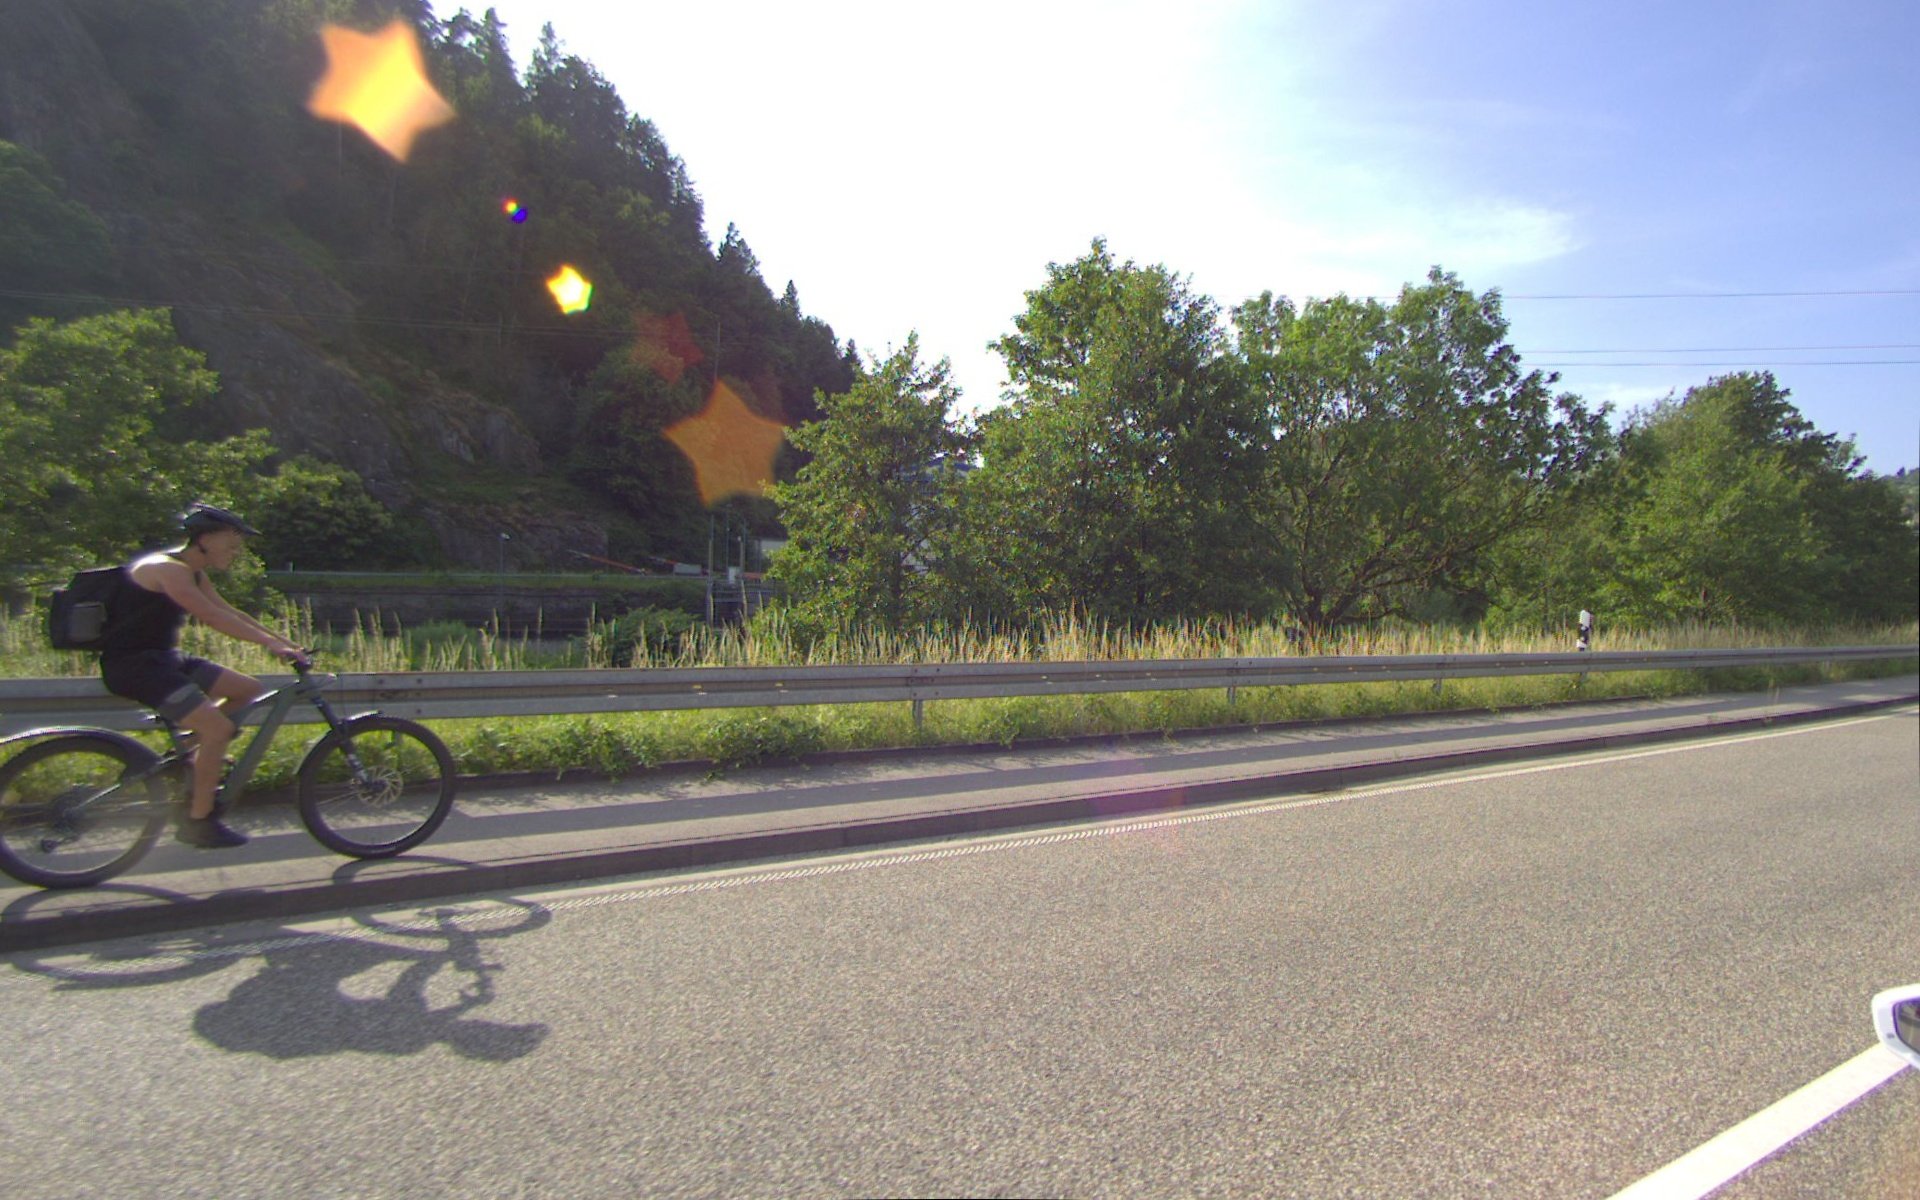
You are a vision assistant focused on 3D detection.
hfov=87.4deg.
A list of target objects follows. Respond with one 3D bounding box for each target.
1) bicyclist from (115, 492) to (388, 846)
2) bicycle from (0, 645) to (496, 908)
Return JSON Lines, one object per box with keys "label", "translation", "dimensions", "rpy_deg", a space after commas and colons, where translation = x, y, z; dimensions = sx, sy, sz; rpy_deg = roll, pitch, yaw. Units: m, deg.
{"label": "bicyclist", "translation": [-3.465, 0.302, 5.016], "dimensions": [1.022, 1.608, 0.555], "rpy_deg": [0, 5, -27]}
{"label": "bicycle", "translation": [-3.540, 0.803, 5.016], "dimensions": [2.201, 1.060, 0.555], "rpy_deg": [0, 4, -28]}
